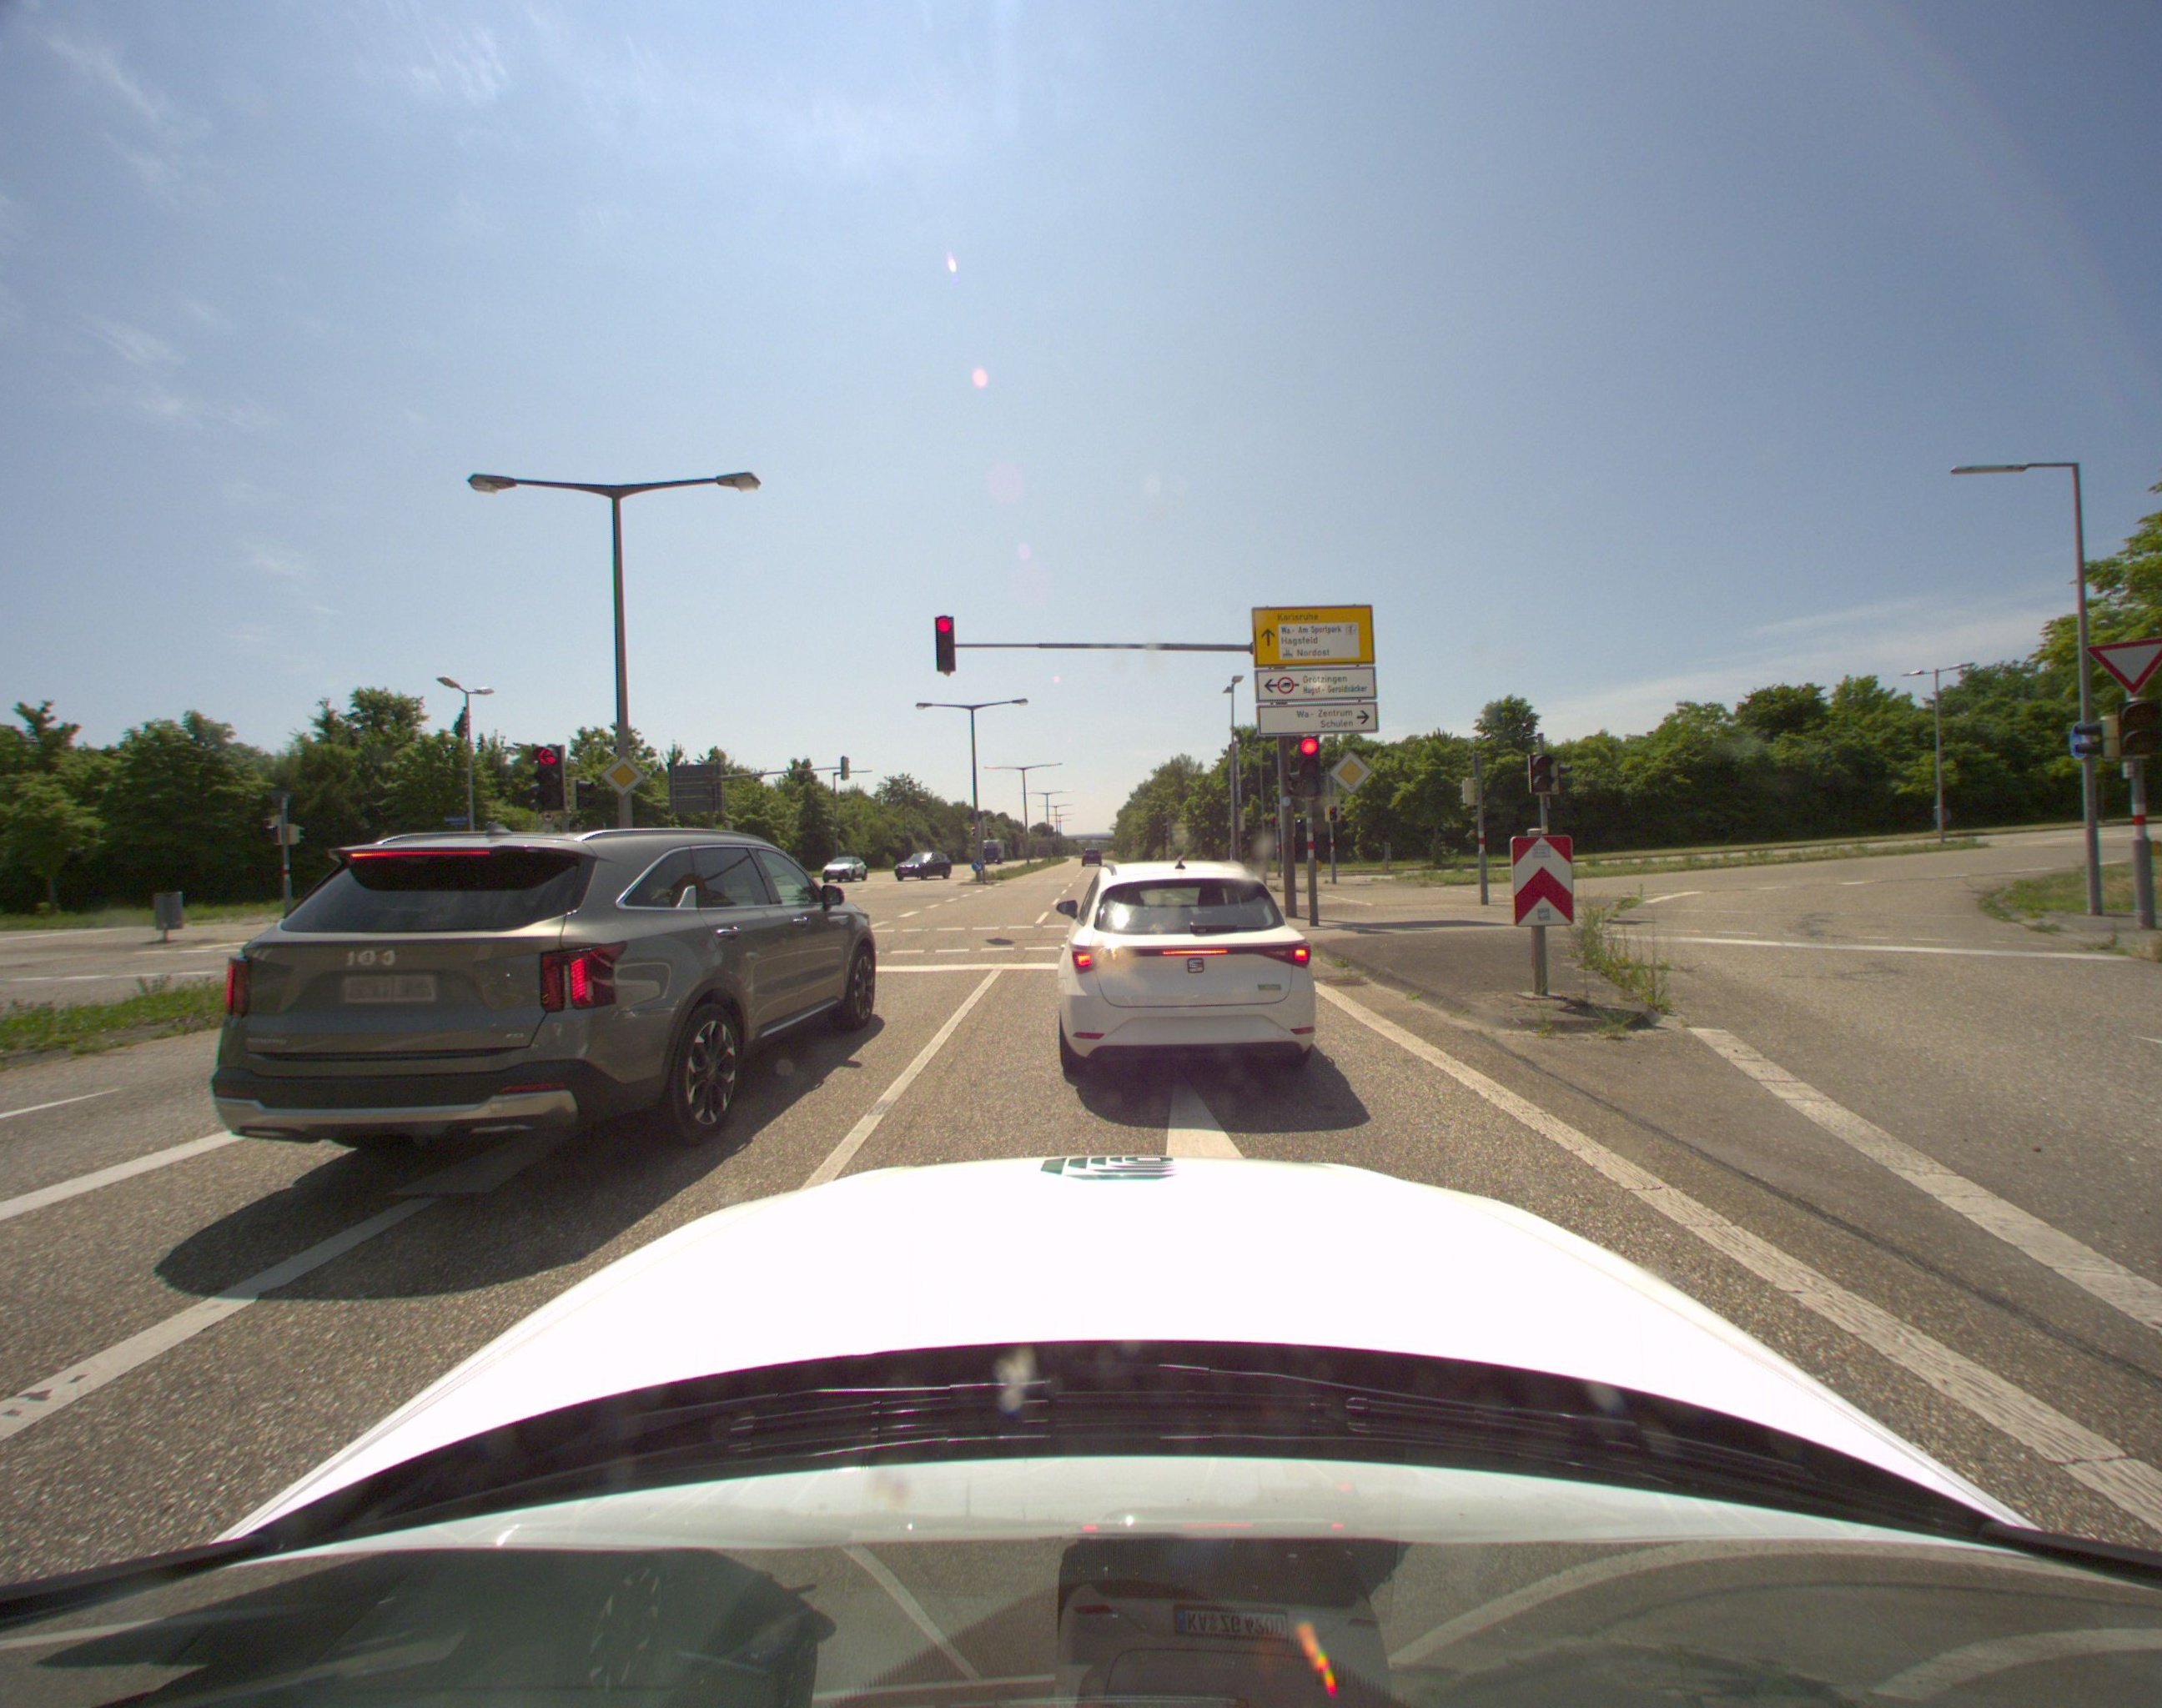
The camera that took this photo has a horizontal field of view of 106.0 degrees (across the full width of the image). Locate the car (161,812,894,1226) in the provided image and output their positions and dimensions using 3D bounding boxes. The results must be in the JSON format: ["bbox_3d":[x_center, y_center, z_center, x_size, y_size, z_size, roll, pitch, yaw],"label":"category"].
[{"bbox_3d":[-2.835,0.686,5.699,1.797,1.662,4.646,-2,0,2],"label":"car"}]

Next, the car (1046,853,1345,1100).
[{"bbox_3d":[0.722,0.730,6.598,1.728,1.428,3.696,0,-1,2],"label":"car"}]

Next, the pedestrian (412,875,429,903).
[{"bbox_3d":[-36.658,1.951,45.189,0.620,1.503,0.790,-2,0,-34],"label":"pedestrian"}]

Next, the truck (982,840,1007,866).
[{"bbox_3d":[-12.684,-0.195,119.747,2.677,3.570,7.269,-2,0,1],"label":"truck"}]

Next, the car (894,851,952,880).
[{"bbox_3d":[-9.744,0.673,50.680,1.693,1.663,4.242,-2,0,17],"label":"car"}]

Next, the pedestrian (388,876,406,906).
[{"bbox_3d":[-37.506,2.006,44.662,0.620,1.603,0.790,-2,0,-34],"label":"pedestrian"}]

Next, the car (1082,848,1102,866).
[{"bbox_3d":[1.192,0.303,84.702,1.847,1.709,4.004,-2,0,4],"label":"car"}]

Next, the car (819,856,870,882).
[{"bbox_3d":[-14.665,0.918,50.743,1.816,1.455,4.170,-2,0,2],"label":"car"}]
